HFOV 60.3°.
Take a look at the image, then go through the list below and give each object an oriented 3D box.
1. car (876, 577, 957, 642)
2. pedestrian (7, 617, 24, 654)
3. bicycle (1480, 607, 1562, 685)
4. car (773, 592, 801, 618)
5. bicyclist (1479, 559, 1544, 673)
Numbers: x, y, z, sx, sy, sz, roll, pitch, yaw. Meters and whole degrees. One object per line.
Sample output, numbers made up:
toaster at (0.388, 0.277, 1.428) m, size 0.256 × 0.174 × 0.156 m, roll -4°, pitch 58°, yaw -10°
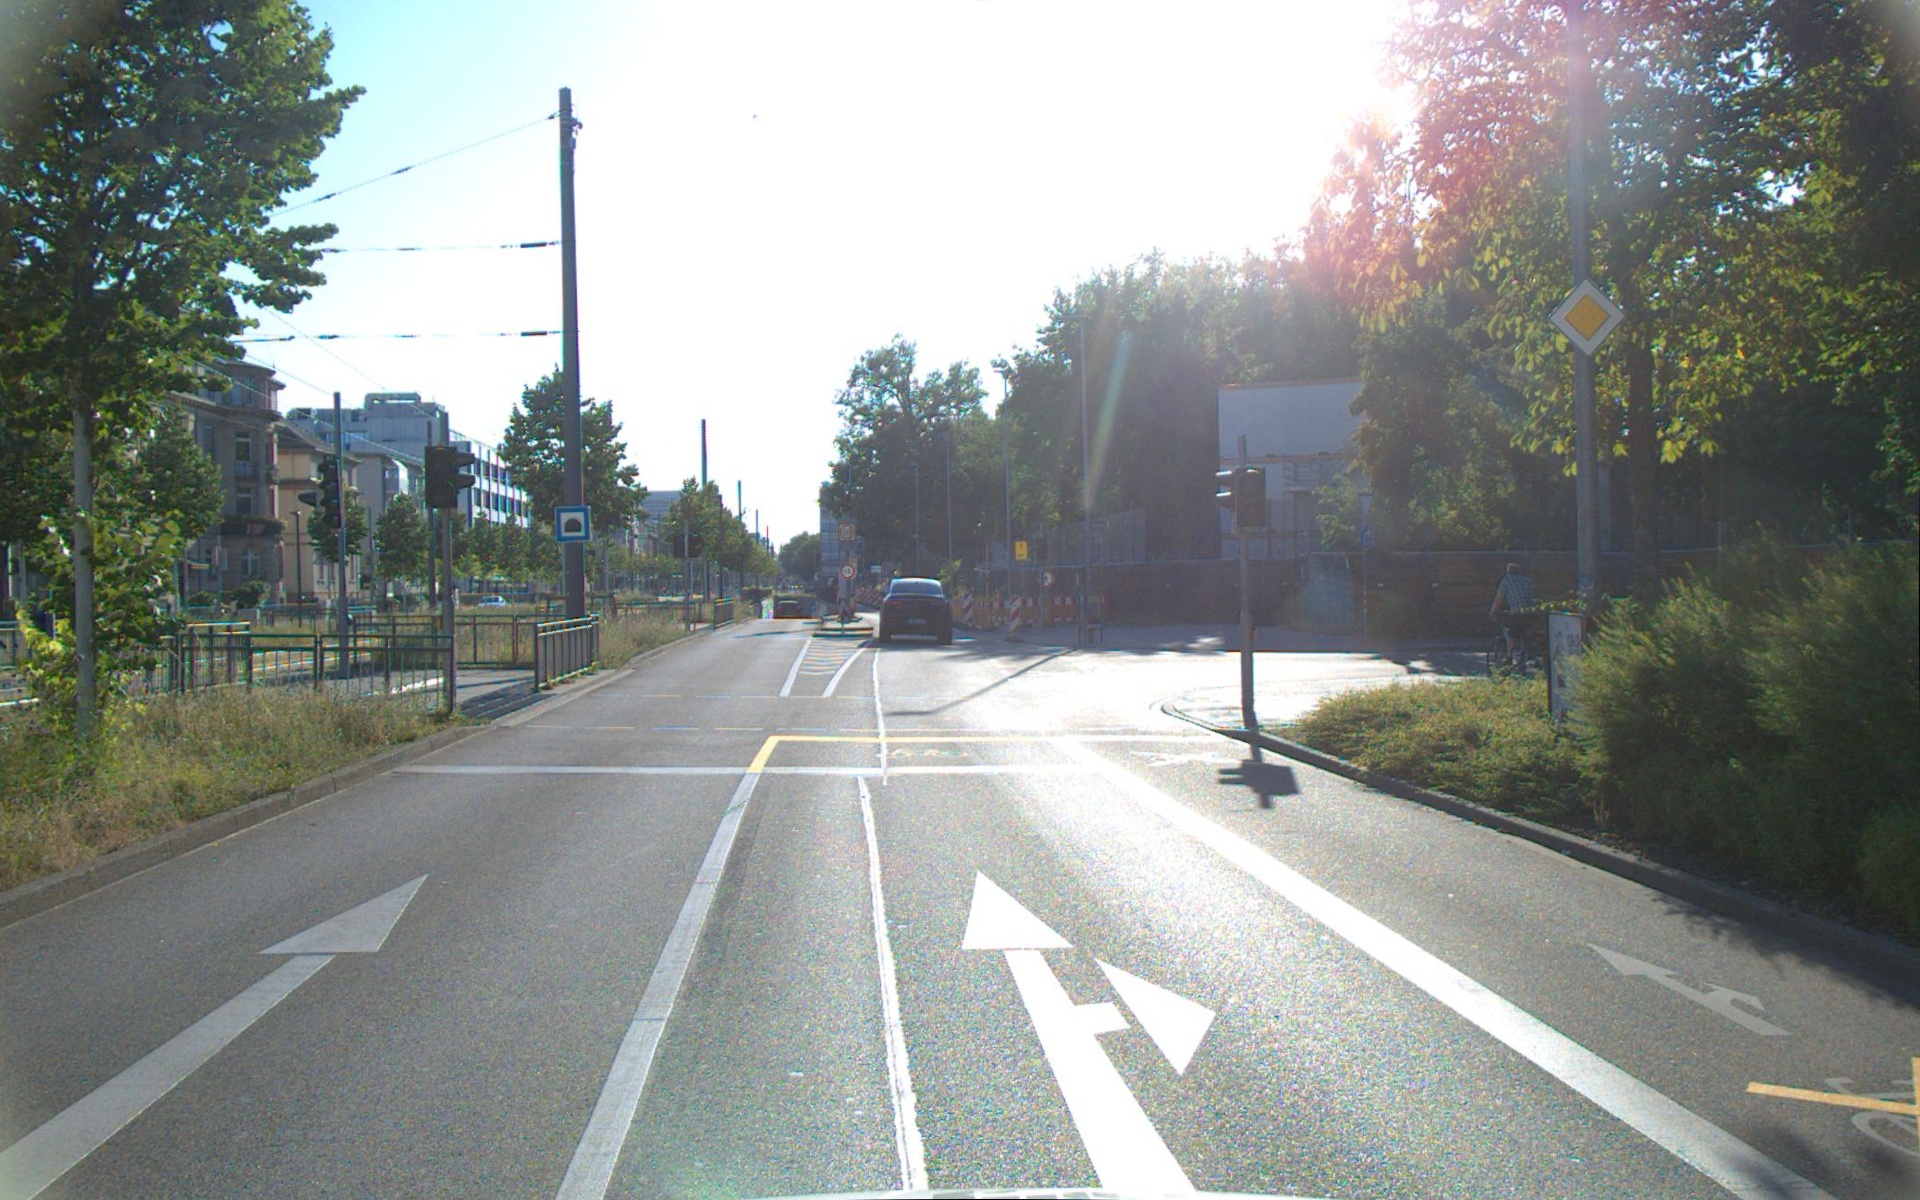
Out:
car at (-1.239, 0.253, 45.511) m, size 1.966 × 1.688 × 3.996 m, roll 1°, pitch 0°, yaw -5°
pedestrian at (-40.846, 1.536, 71.526) m, size 0.509 × 1.583 × 0.448 m, roll -1°, pitch 0°, yaw -7°
bicycle at (8.248, 0.654, 24.398) m, size 0.419 × 1.080 × 1.909 m, roll -1°, pitch 0°, yaw -4°
car at (-11.691, 0.347, 111.939) m, size 1.791 × 1.688 × 3.996 m, roll 1°, pitch 0°, yaw -5°
bicyclist at (8.136, 0.226, 24.422) m, size 0.572 × 1.643 × 0.902 m, roll -1°, pitch 0°, yaw -5°
